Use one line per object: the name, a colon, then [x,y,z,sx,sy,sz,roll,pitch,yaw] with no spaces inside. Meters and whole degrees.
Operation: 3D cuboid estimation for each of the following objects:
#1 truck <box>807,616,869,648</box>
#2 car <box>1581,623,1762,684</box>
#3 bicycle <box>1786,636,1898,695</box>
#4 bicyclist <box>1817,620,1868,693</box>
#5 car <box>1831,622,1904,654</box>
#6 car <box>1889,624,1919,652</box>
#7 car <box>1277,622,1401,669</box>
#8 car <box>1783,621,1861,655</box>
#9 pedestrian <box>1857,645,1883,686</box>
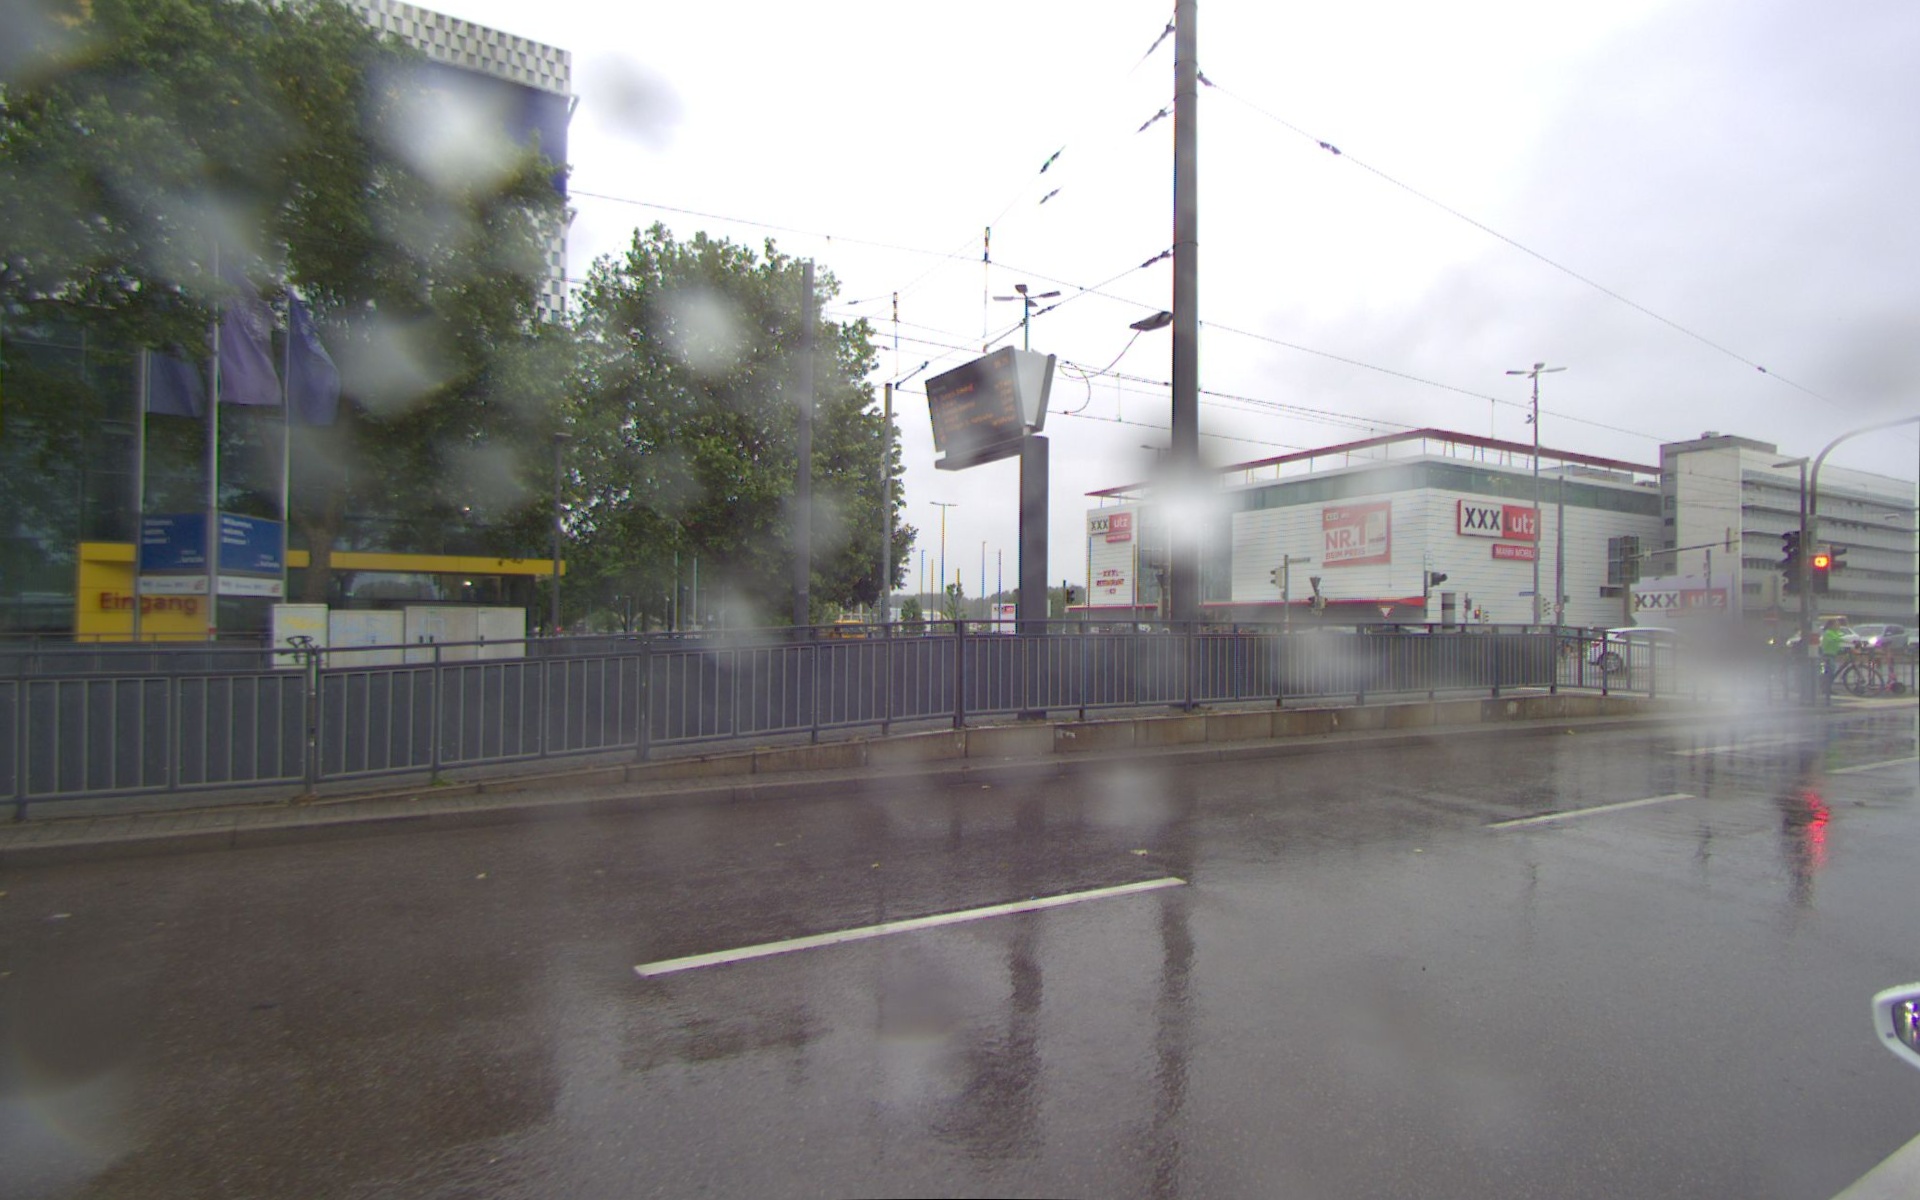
truck: [-10.488,2.660,85.542,2.445,2.240,7.329,3,0,-31]
car: [21.959,1.610,31.117,1.807,1.521,4.222,2,1,-40]
bicycle: [19.048,1.402,21.731,1.724,1.153,0.520,2,0,18]
bicyclist: [19.063,1.206,21.708,0.593,1.511,0.600,2,0,20]
car: [46.962,1.966,51.961,3.765,1.445,1.702,3,0,-30]
car: [53.139,2.146,55.556,3.527,1.445,1.552,3,0,-30]
car: [14.882,1.754,39.664,1.694,1.521,4.473,3,1,-30]
car: [41.983,1.866,48.907,3.765,1.445,1.702,3,0,-30]
pedestrian: [20.663,1.485,22.801,0.376,0.909,0.313,1,1,-32]
